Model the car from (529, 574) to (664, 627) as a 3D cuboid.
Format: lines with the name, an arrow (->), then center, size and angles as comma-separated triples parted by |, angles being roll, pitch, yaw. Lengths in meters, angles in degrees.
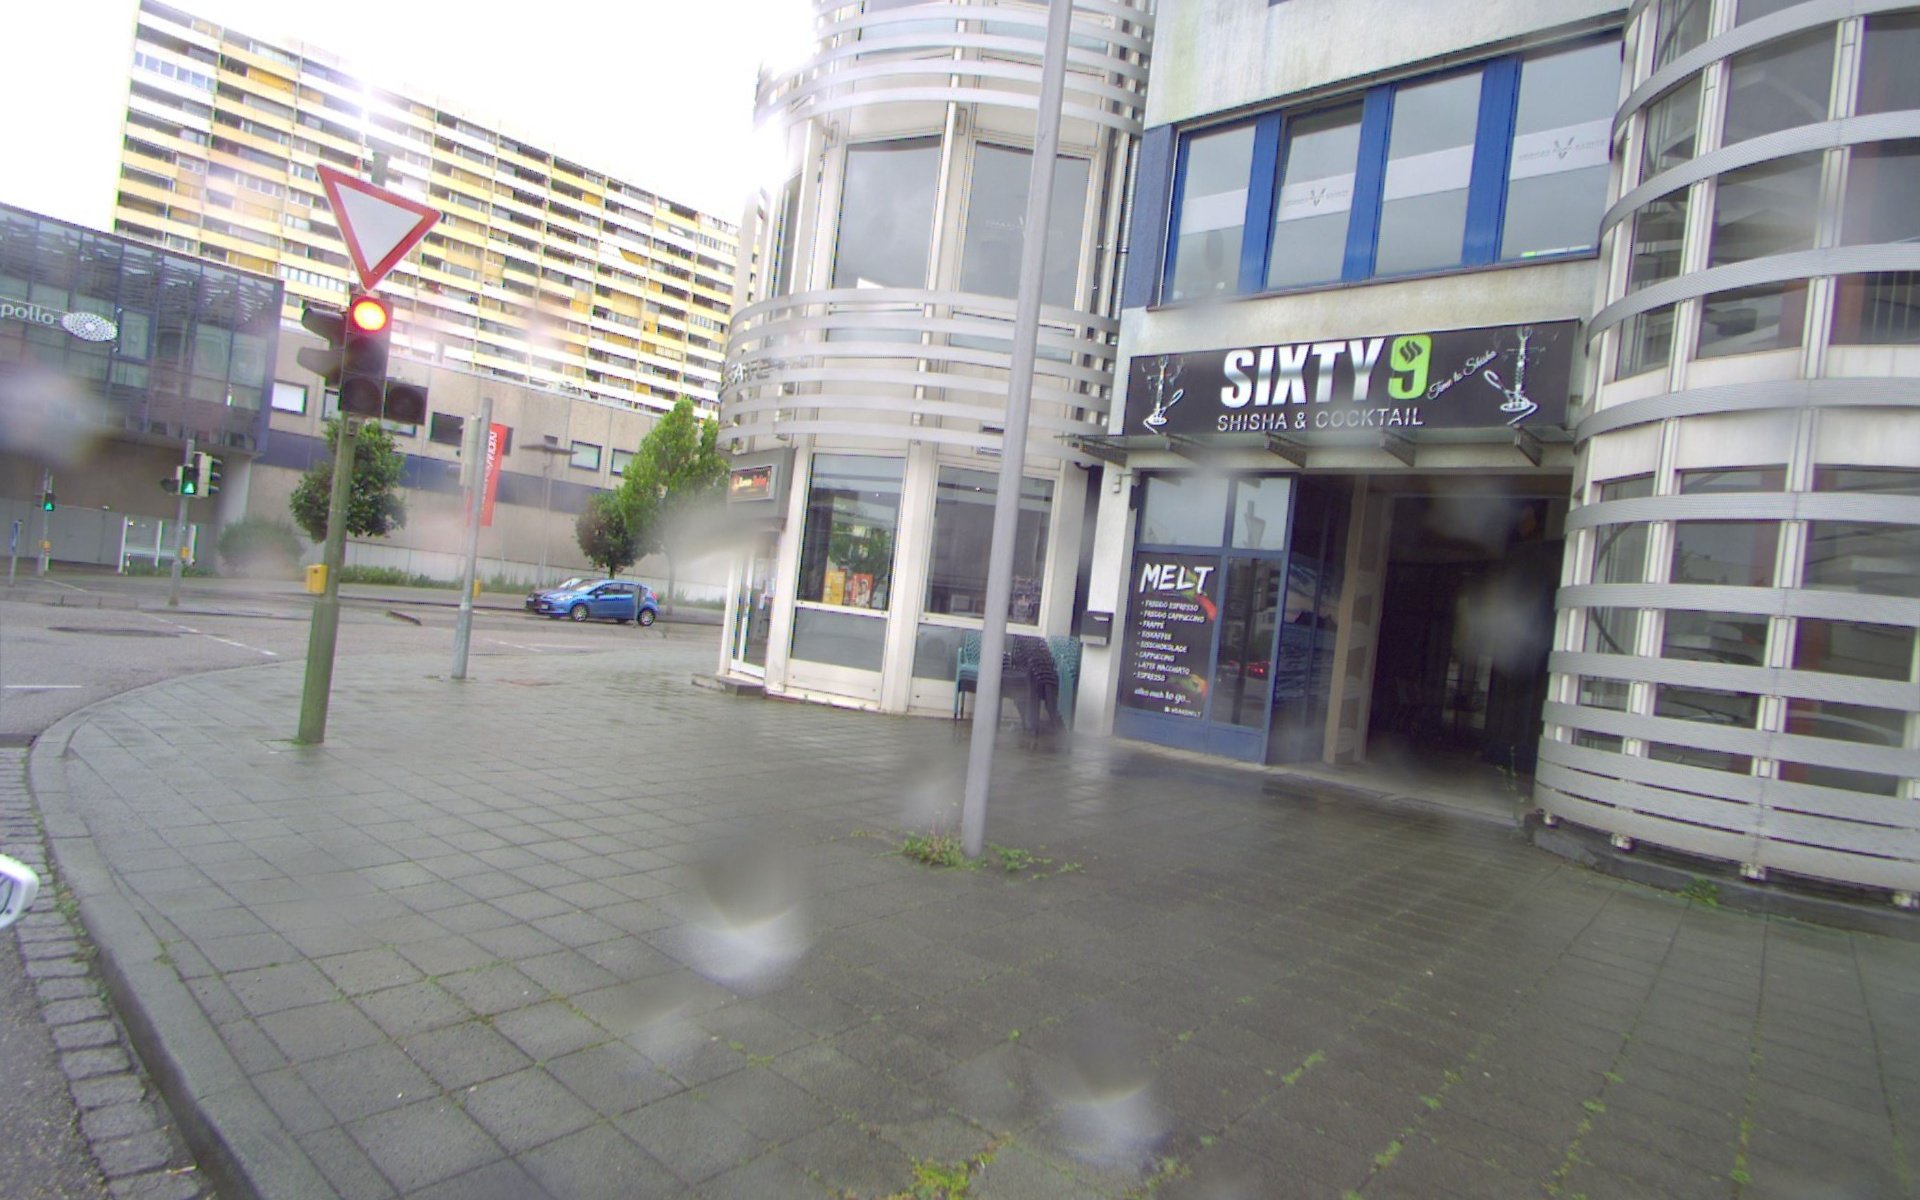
car -> -12.035, 0.049, 33.452 | 1.655, 1.415, 3.837 | 5, 0, 40

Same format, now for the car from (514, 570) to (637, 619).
car -> -13.741, -0.166, 36.078 | 1.720, 1.412, 3.677 | 5, 0, 41
